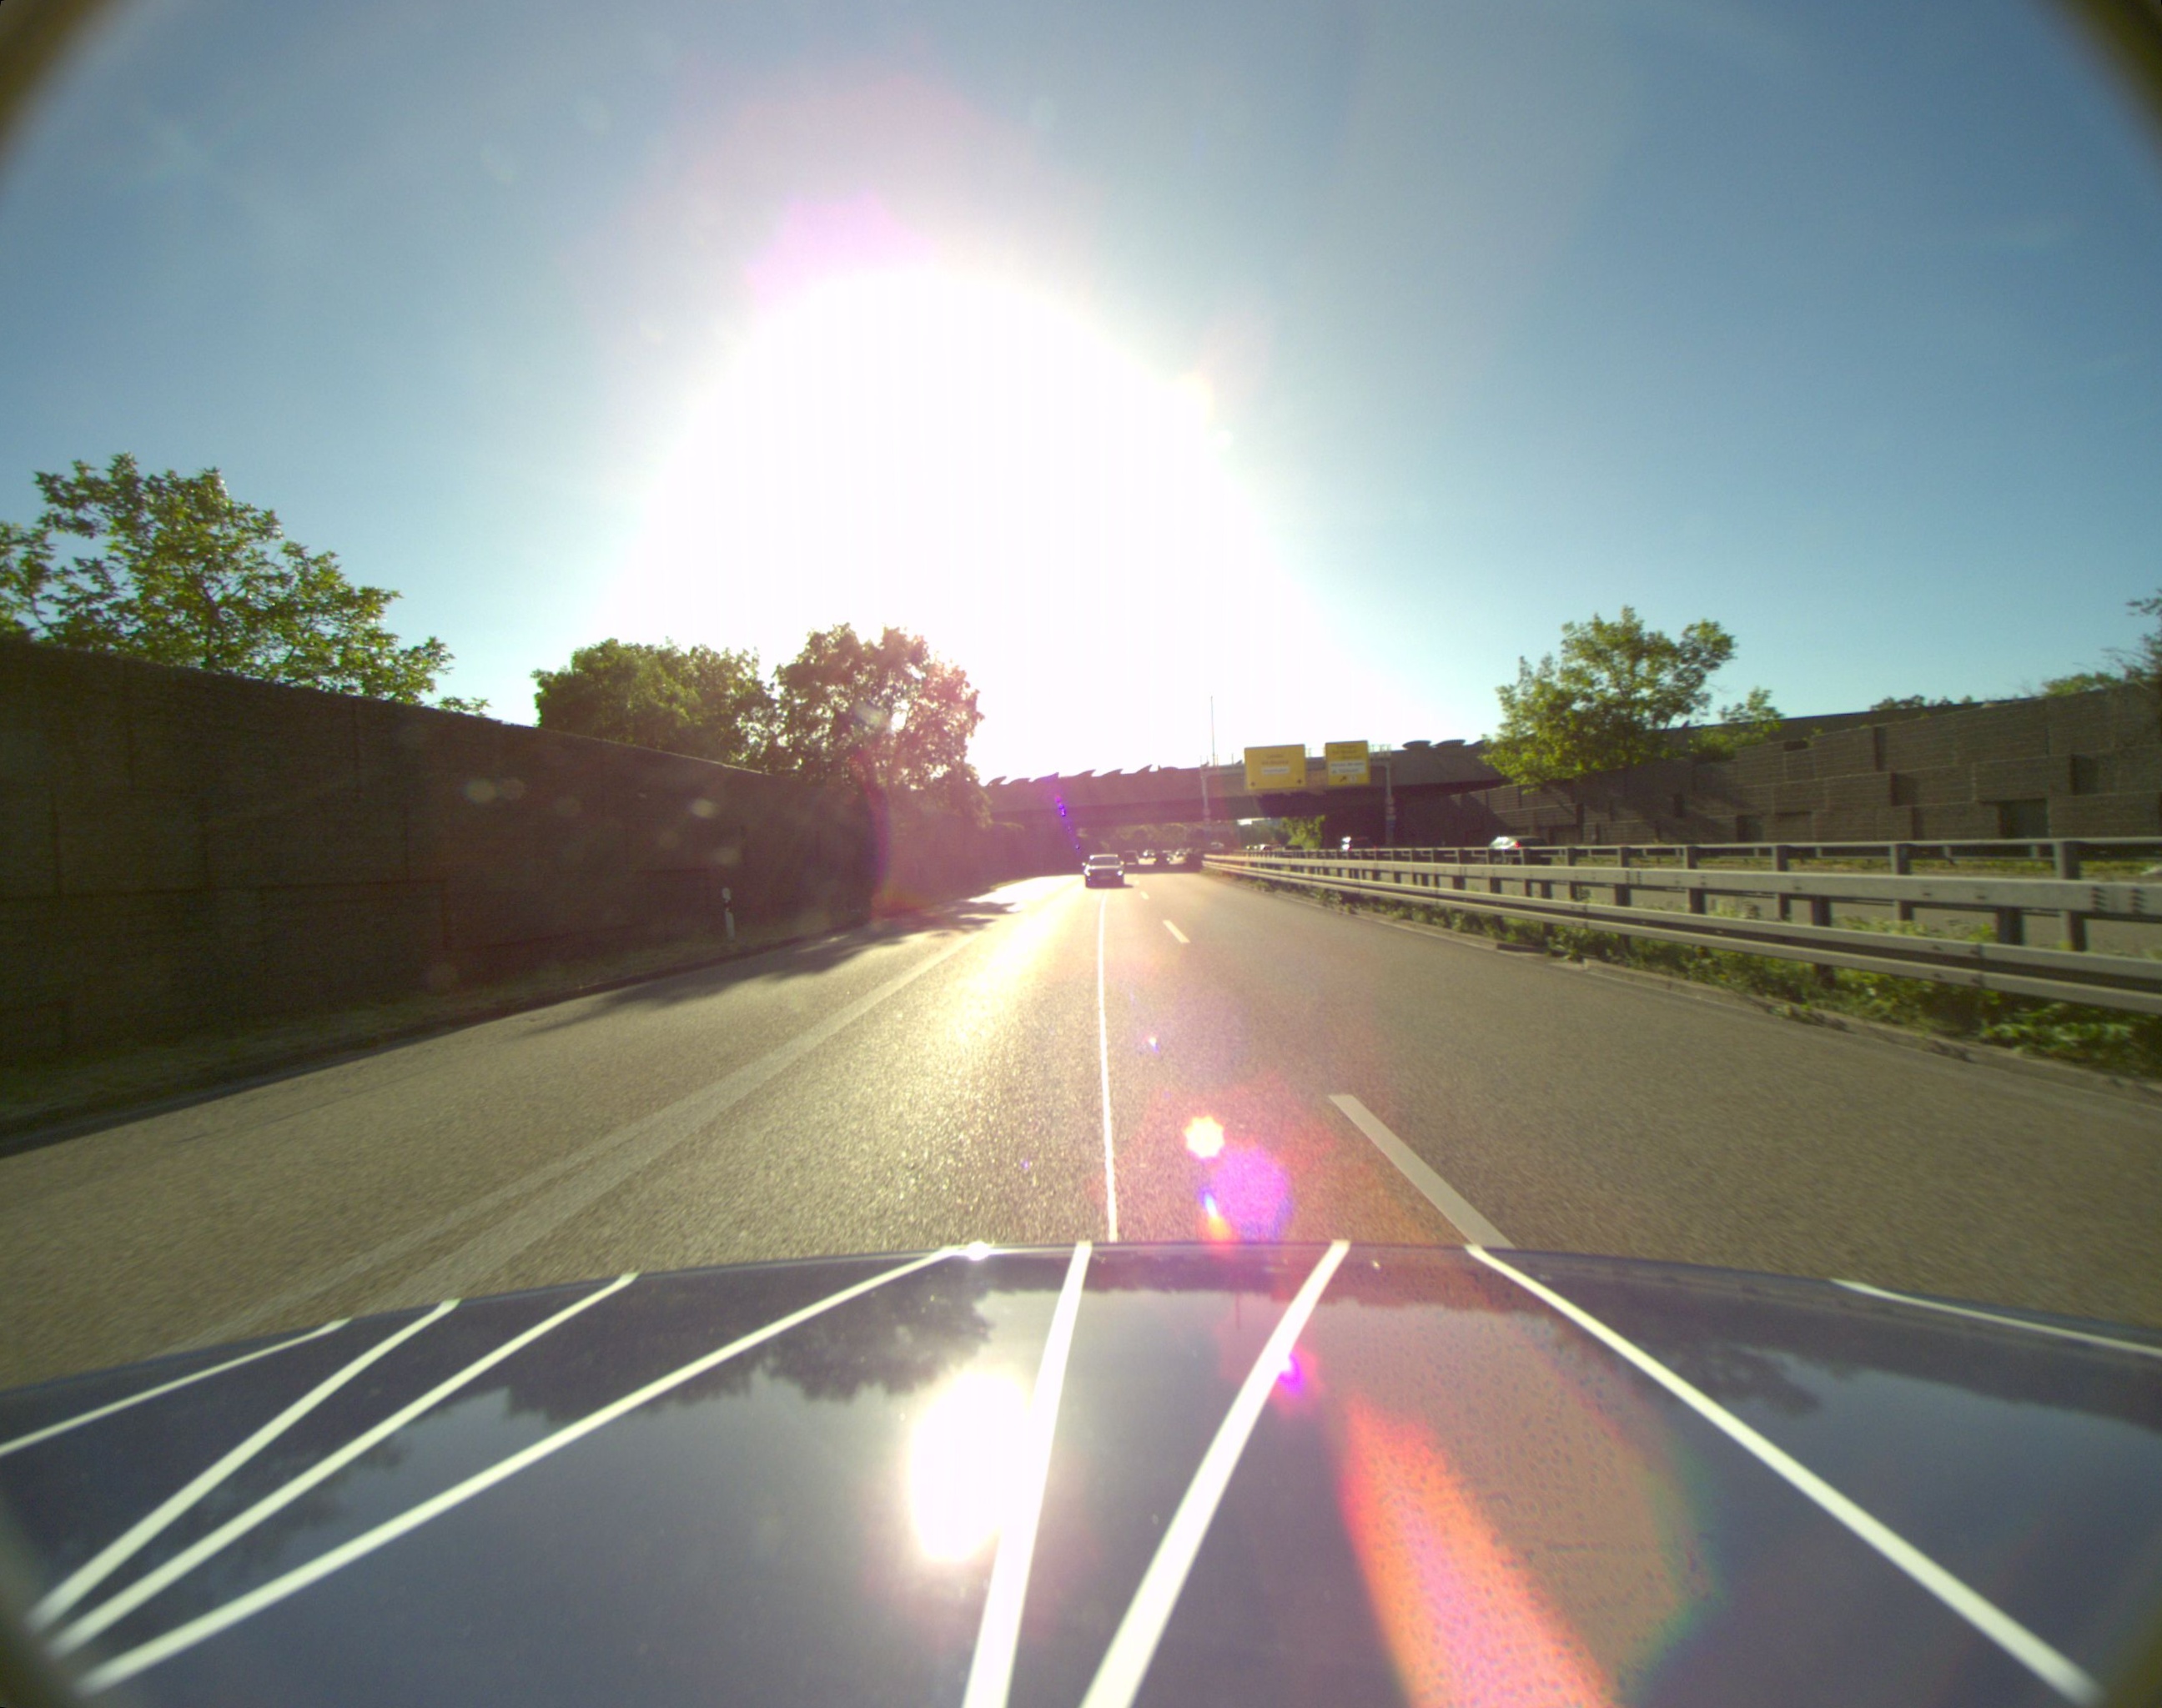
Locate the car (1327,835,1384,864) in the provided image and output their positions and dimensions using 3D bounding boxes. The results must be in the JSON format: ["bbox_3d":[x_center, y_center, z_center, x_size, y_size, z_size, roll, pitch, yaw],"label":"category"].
[{"bbox_3d":[16.786,-0.246,46.736,1.902,1.564,4.809,-4,0,3],"label":"car"}]

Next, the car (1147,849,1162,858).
[{"bbox_3d":[13.342,-0.084,137.406,1.997,1.406,4.835,-3,0,12],"label":"car"}]

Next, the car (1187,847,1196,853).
[{"bbox_3d":[31.801,-1.204,218.608,1.996,1.406,4.835,-3,0,14],"label":"car"}]

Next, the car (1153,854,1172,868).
[{"bbox_3d":[9.138,0.785,85.901,1.998,1.406,4.832,-3,0,5],"label":"car"}]

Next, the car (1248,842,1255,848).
[{"bbox_3d":[52.265,-2.818,232.620,1.997,1.631,4.725,-3,0,12],"label":"car"}]

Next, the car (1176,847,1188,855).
[{"bbox_3d":[20.220,-0.601,151.946,1.997,1.406,4.834,-3,0,12],"label":"car"}]

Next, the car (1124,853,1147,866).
[{"bbox_3d":[6.779,0.667,93.807,1.997,1.406,4.835,-3,0,13],"label":"car"}]

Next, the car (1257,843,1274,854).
[{"bbox_3d":[29.131,-0.874,119.858,1.997,1.586,4.429,-3,0,7],"label":"car"}]

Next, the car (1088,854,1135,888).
[{"bbox_3d":[1.476,0.734,35.214,1.998,1.406,4.831,-2,0,4],"label":"car"}]

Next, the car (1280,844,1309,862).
[{"bbox_3d":[19.823,-0.078,70.554,1.549,1.564,4.396,-4,0,3],"label":"car"}]

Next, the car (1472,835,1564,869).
[{"bbox_3d":[19.529,-0.082,34.146,1.902,1.413,4.135,-1,0,3],"label":"car"}]
